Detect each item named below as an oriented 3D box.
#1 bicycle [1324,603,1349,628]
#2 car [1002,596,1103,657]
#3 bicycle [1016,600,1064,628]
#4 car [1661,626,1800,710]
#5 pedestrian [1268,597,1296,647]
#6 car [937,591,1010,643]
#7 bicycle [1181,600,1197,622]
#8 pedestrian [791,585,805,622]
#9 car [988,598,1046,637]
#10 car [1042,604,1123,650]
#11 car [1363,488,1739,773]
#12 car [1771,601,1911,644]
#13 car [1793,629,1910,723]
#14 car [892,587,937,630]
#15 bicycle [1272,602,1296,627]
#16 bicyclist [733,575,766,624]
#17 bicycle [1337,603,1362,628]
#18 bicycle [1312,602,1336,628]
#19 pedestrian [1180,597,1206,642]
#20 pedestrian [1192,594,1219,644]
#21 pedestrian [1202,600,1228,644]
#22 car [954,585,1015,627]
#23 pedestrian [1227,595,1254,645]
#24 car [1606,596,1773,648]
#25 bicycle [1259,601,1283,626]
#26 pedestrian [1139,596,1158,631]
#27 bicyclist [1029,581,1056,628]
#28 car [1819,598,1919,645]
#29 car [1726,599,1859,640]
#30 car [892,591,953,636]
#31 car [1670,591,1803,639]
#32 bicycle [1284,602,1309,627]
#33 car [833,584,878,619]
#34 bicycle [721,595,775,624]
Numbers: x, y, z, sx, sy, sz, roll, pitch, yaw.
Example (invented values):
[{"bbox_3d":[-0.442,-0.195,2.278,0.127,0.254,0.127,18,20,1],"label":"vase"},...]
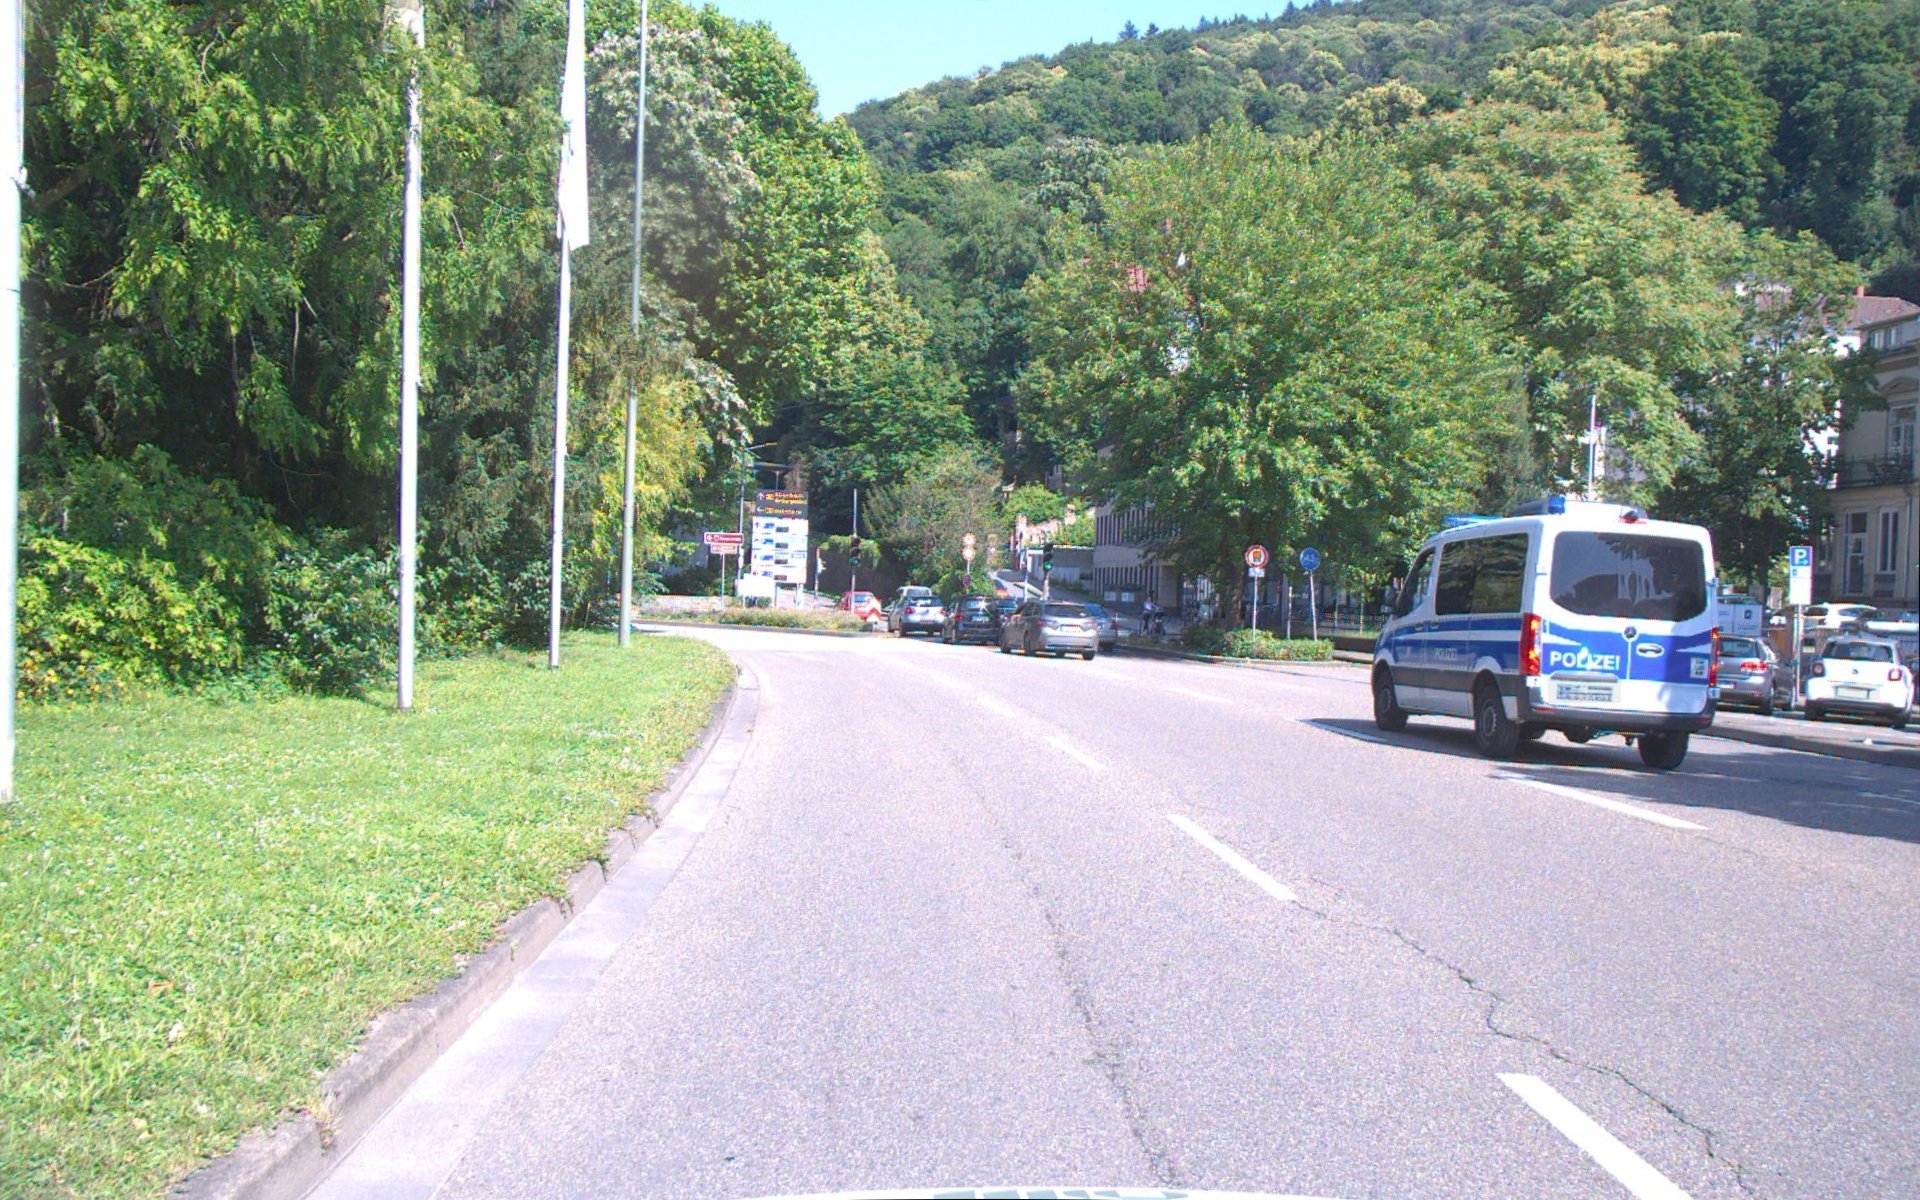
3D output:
[{"bbox_3d":[17.297,0.696,76.081,0.527,1.104,1.832,1,0,-7],"label":"bicycle"},{"bbox_3d":[2.305,0.644,41.992,1.724,1.357,3.793,2,0,-10],"label":"car"},{"bbox_3d":[3.449,0.604,71.321,2.033,1.132,0.757,2,0,3],"label":"bicycle"},{"bbox_3d":[15.331,1.306,32.811,1.791,1.487,4.093,2,0,35],"label":"car"},{"bbox_3d":[12.324,0.845,63.394,0.757,1.886,0.827,2,0,-10],"label":"pedestrian"},{"bbox_3d":[0.397,0.513,52.050,1.724,1.486,3.487,2,0,-9],"label":"car"},{"bbox_3d":[11.196,0.532,80.811,0.397,1.030,1.339,1,1,-8],"label":"bicycle"},{"bbox_3d":[-7.242,0.147,73.987,0.535,1.649,0.634,1,1,0],"label":"pedestrian"},{"bbox_3d":[2.297,0.694,67.415,1.724,1.486,3.487,2,0,-9],"label":"car"},{"bbox_3d":[3.731,0.811,50.852,1.724,1.234,3.487,2,0,-9],"label":"car"},{"bbox_3d":[6.078,0.286,17.771,2.032,2.552,4.927,2,0,-2],"label":"car"},{"bbox_3d":[30.352,0.767,57.019,4.003,1.359,1.817,2,0,-11],"label":"car"},{"bbox_3d":[16.542,1.349,30.618,1.677,1.538,3.802,2,0,31],"label":"car"},{"bbox_3d":[-2.238,0.388,80.930,1.724,1.972,3.487,2,0,-9],"label":"car"},{"bbox_3d":[14.863,0.638,75.840,0.527,1.104,1.832,1,0,-7],"label":"bicycle"},{"bbox_3d":[-8.680,-0.036,68.182,1.102,1.966,0.749,2,0,16],"label":"bicyclist"},{"bbox_3d":[17.925,0.710,76.180,0.527,1.104,1.832,1,0,-7],"label":"bicycle"},{"bbox_3d":[16.717,0.682,75.985,0.527,1.104,1.832,1,0,-7],"label":"bicycle"},{"bbox_3d":[9.133,0.762,64.934,0.756,1.692,0.828,2,0,-8],"label":"pedestrian"},{"bbox_3d":[9.460,0.723,63.742,0.756,1.886,0.828,2,0,-6],"label":"pedestrian"},{"bbox_3d":[9.935,0.846,64.545,0.756,1.692,0.828,2,0,-7],"label":"pedestrian"},{"bbox_3d":[0.918,0.213,63.568,1.724,1.486,3.638,2,0,-9],"label":"car"},{"bbox_3d":[10.754,0.768,63.435,0.757,1.886,0.827,2,0,-10],"label":"pedestrian"},{"bbox_3d":[20.807,0.614,47.240,3.968,1.359,1.986,2,0,-11],"label":"car"},{"bbox_3d":[14.236,0.623,75.769,0.527,1.104,1.832,1,0,-7],"label":"bicycle"},{"bbox_3d":[8.047,0.583,70.604,0.482,1.483,0.730,1,0,-21],"label":"pedestrian"},{"bbox_3d":[3.559,0.193,71.316,1.102,1.966,0.748,2,0,4],"label":"bicyclist"},{"bbox_3d":[30.558,0.729,54.257,3.977,1.444,1.817,2,0,-11],"label":"car"},{"bbox_3d":[29.817,0.693,59.260,3.968,1.359,1.817,2,0,-11],"label":"car"},{"bbox_3d":[-1.405,0.471,60.143,1.724,1.486,3.638,2,0,-9],"label":"car"},{"bbox_3d":[28.795,0.550,61.366,4.230,1.631,1.817,2,0,-11],"label":"car"},{"bbox_3d":[15.442,0.652,75.921,0.527,1.104,1.832,1,0,-7],"label":"bicycle"},{"bbox_3d":[-4.806,0.046,76.009,1.724,1.486,3.487,2,0,-9],"label":"car"},{"bbox_3d":[-8.725,0.381,68.190,2.033,1.132,0.757,2,0,16],"label":"bicycle"}]
